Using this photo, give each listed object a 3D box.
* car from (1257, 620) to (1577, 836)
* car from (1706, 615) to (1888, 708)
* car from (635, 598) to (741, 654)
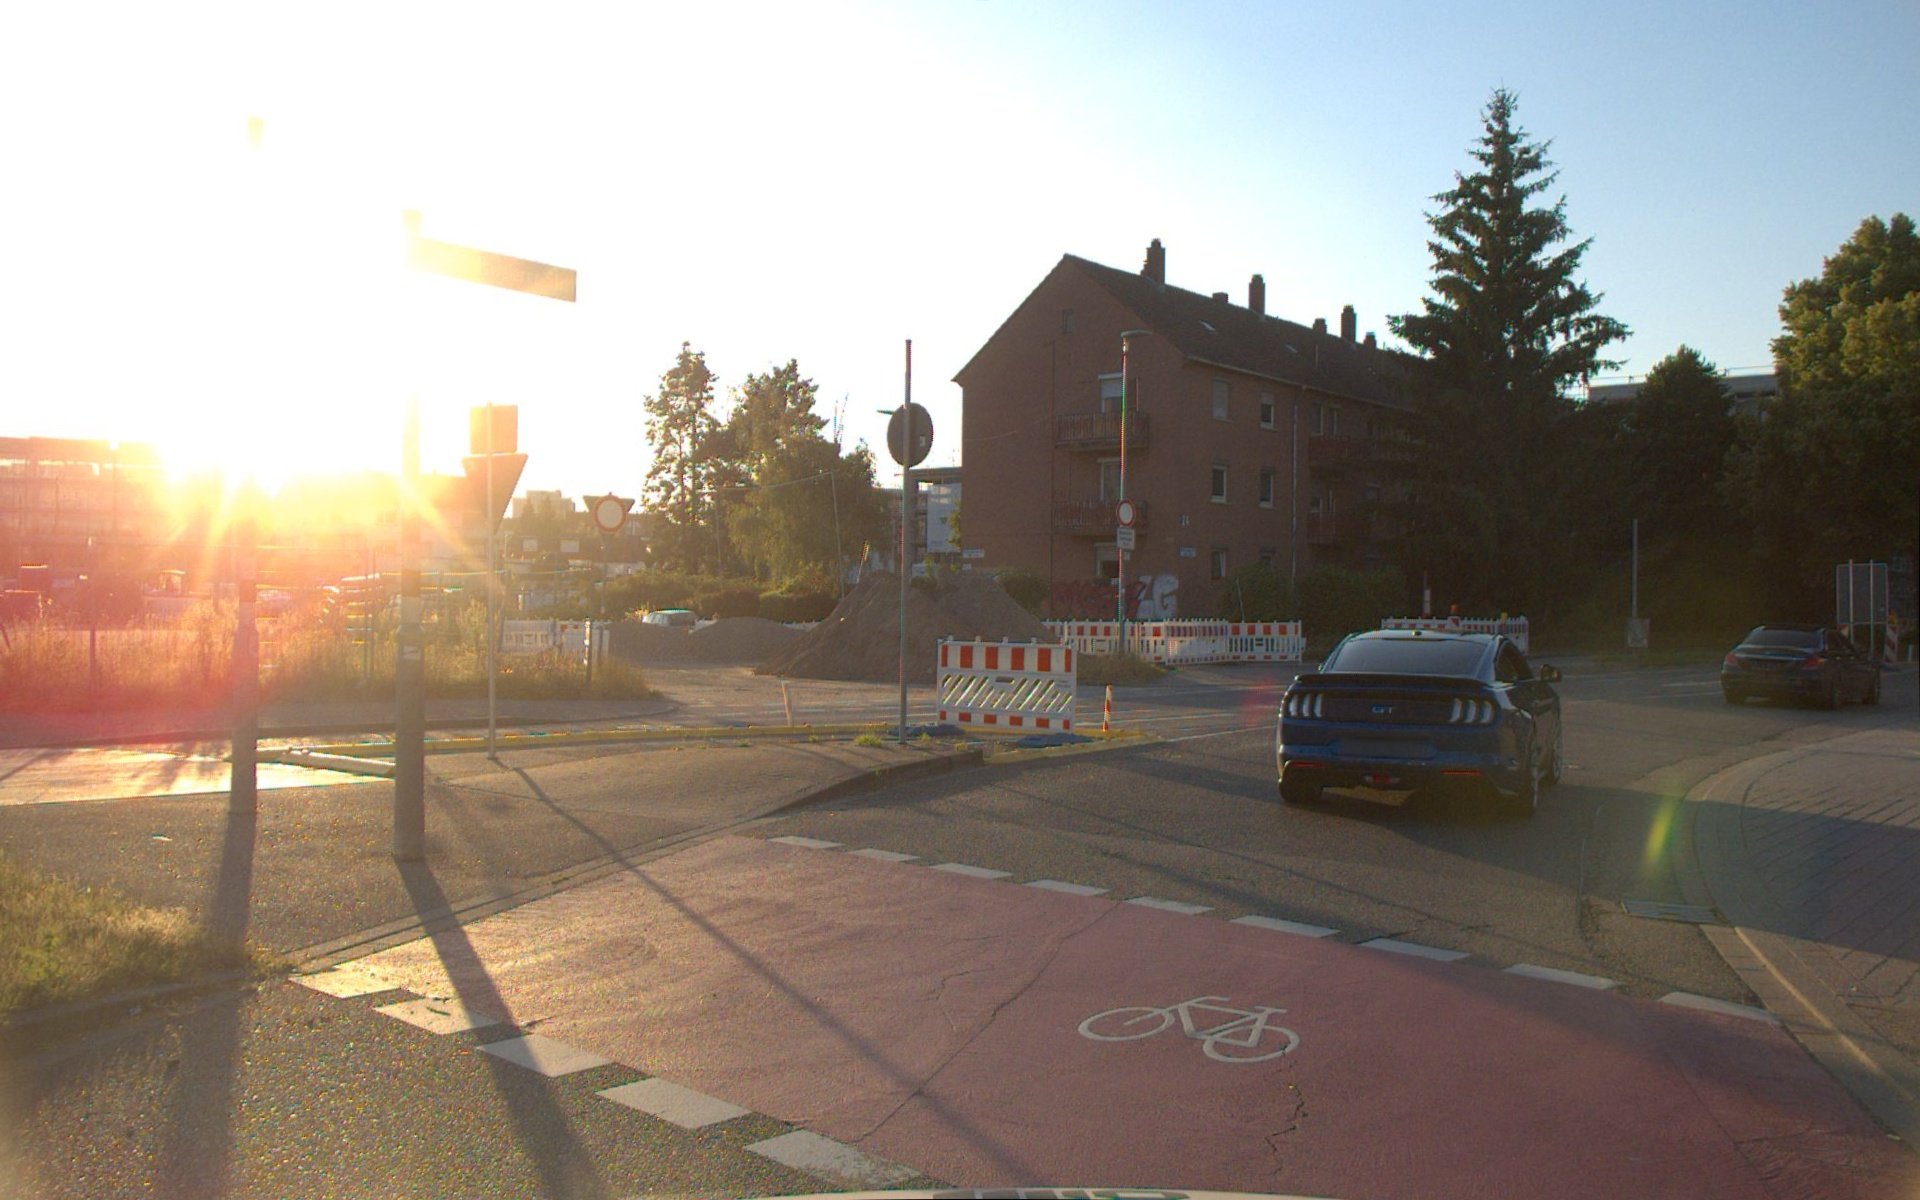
[{"bbox_3d":[3.947,0.894,13.676,1.912,1.365,4.669,1,0,23],"label":"car"},{"bbox_3d":[15.136,1.053,29.802,1.922,1.452,4.405,3,1,41],"label":"car"},{"bbox_3d":[-8.929,0.834,54.084,1.975,1.736,3.954,1,0,-33],"label":"car"}]
